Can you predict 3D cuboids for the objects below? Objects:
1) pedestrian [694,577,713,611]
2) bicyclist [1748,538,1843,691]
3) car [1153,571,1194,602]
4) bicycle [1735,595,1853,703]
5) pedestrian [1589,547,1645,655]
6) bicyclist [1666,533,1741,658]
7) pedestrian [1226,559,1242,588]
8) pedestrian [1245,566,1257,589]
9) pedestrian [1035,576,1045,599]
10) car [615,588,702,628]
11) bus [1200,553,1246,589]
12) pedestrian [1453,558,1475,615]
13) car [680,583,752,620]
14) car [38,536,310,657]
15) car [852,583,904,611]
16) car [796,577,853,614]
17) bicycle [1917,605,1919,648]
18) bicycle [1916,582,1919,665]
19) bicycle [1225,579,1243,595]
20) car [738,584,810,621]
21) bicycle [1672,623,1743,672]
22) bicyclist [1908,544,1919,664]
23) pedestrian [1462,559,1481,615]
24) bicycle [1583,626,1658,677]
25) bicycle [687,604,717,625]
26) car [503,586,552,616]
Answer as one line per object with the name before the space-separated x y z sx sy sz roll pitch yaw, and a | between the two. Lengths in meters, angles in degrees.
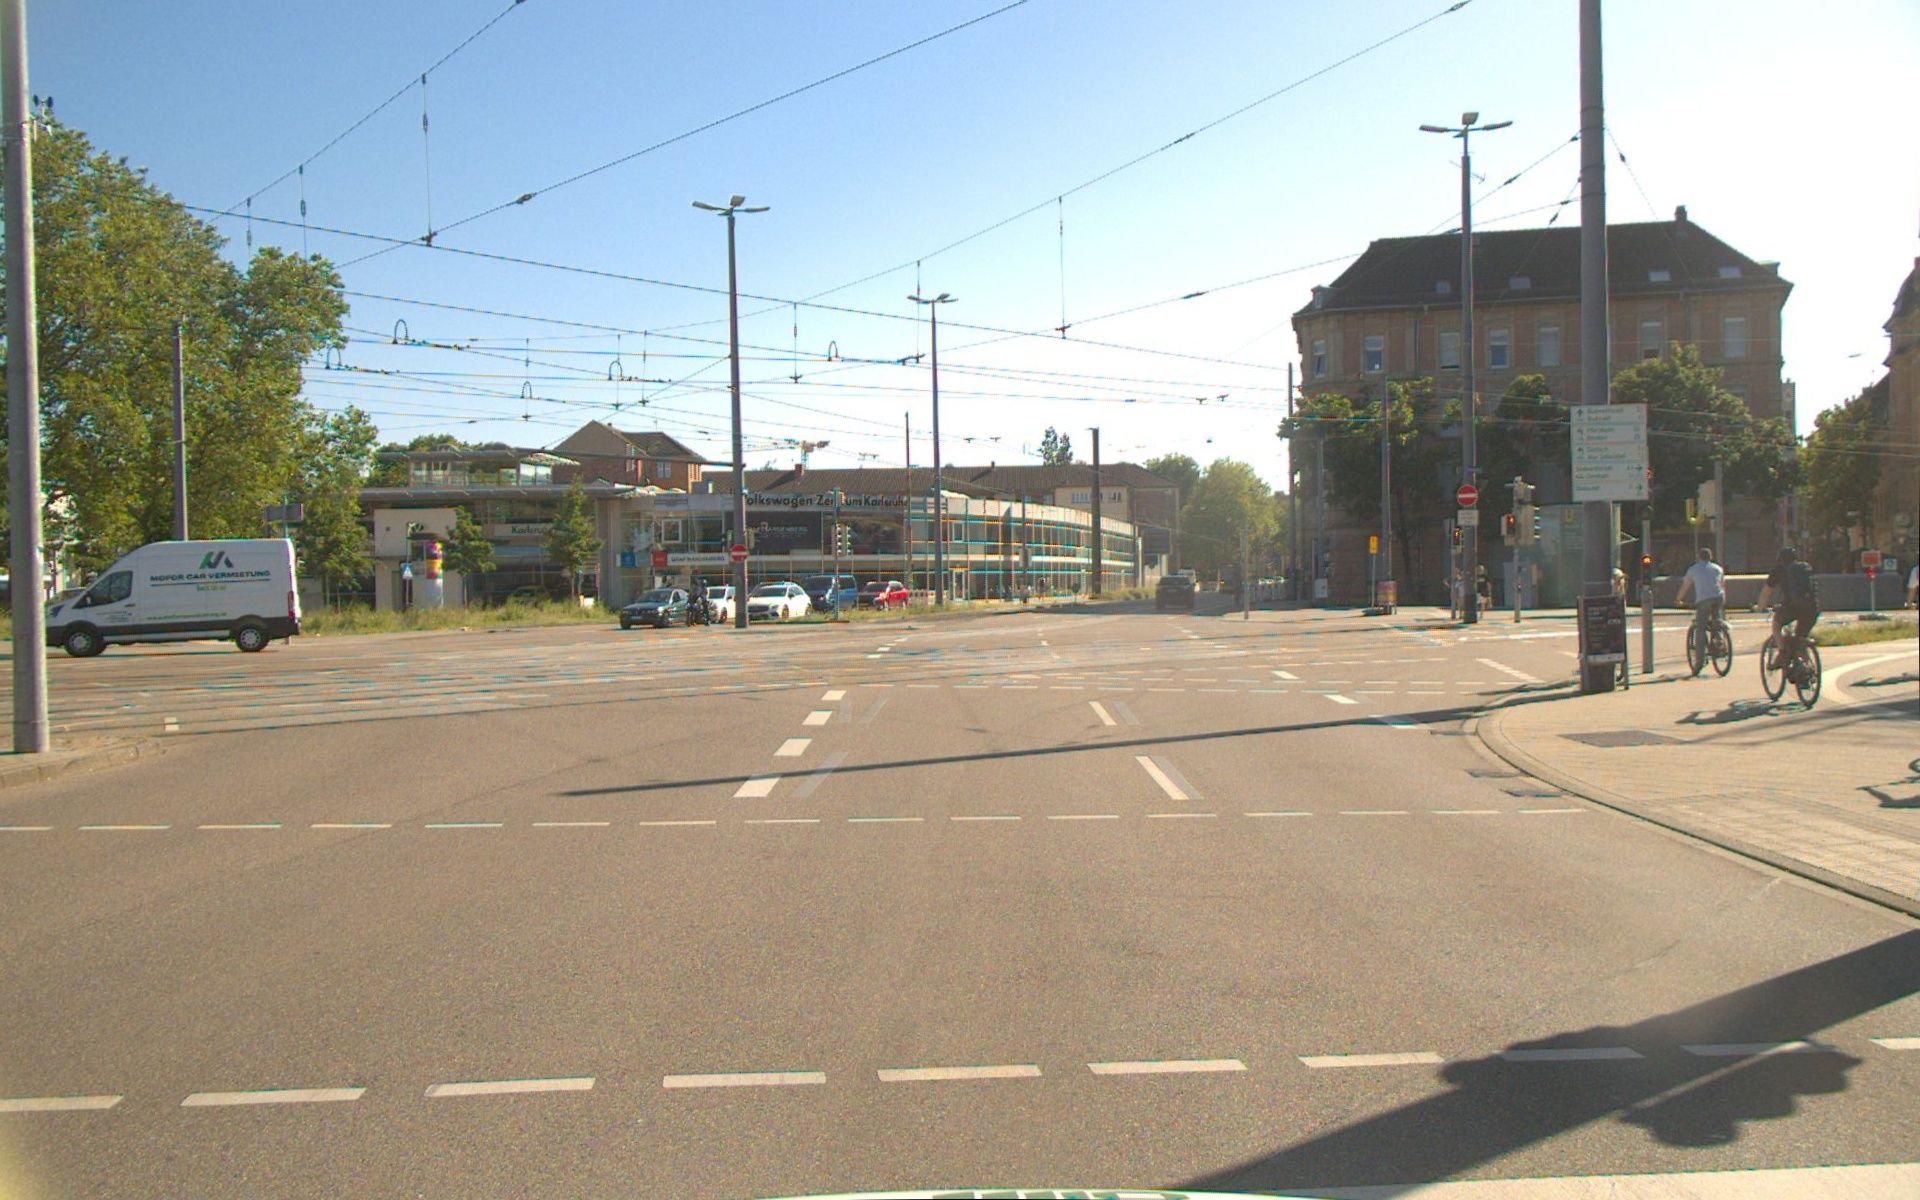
pedestrian | -9.361 -0.211 60.361 0.413 1.225 0.750 -1 0 16
bicyclist | 9.504 0.160 18.849 0.612 1.666 0.996 -3 0 9
car | 10.904 -0.708 84.241 1.662 1.529 4.268 -1 1 12
bicycle | 9.545 0.531 18.996 0.612 1.133 1.852 -3 0 9
pedestrian | 9.803 0.011 24.702 0.537 1.590 0.858 -1 0 4
bicyclist | 11.134 -0.074 24.780 0.731 1.810 0.925 -2 0 6
pedestrian | 15.793 -1.515 95.255 0.786 1.660 0.718 -1 0 17
pedestrian | 19.763 -1.508 112.488 0.730 1.549 0.719 -1 0 14
pedestrian | 5.954 -0.940 122.902 0.531 1.718 0.630 -1 0 18
car | -11.017 0.285 60.696 1.667 1.378 3.703 -1 1 16
bus | 30.544 -3.204 191.142 3.755 3.670 24.887 1 0 12
pedestrian | 18.378 -0.506 60.304 0.564 2.049 0.449 -1 1 -19
car | -9.794 0.043 66.669 1.591 1.448 3.689 -1 1 14
car | -19.241 -0.121 40.837 5.818 2.792 2.132 -1 0 -20
car | -4.252 -0.194 86.016 1.591 1.388 3.688 -1 1 16
car | -6.430 -0.231 78.856 1.591 1.722 3.689 -1 0 14
bicycle | 8.166 0.621 12.756 0.670 1.184 1.885 -3 0 9
bicycle | 13.286 0.329 22.275 0.560 1.145 1.739 -1 0 26
bicycle | 15.716 -0.755 94.845 0.727 0.885 1.932 -1 0 17
car | -7.241 0.080 64.826 1.591 1.406 3.741 -1 1 14
bicycle | 11.184 0.703 24.791 0.525 0.667 1.469 -2 1 6
bicyclist | 13.179 0.046 22.347 0.560 1.596 0.946 -1 0 27
pedestrian | 18.854 -0.495 60.968 0.453 2.049 0.449 -1 1 -18
bicycle | 9.849 0.756 24.726 0.525 0.667 1.726 -3 0 5
bicycle | -9.396 0.527 60.191 0.413 0.730 1.636 -1 1 16
car | -25.981 0.051 99.471 1.926 1.735 4.083 -1 1 -1
